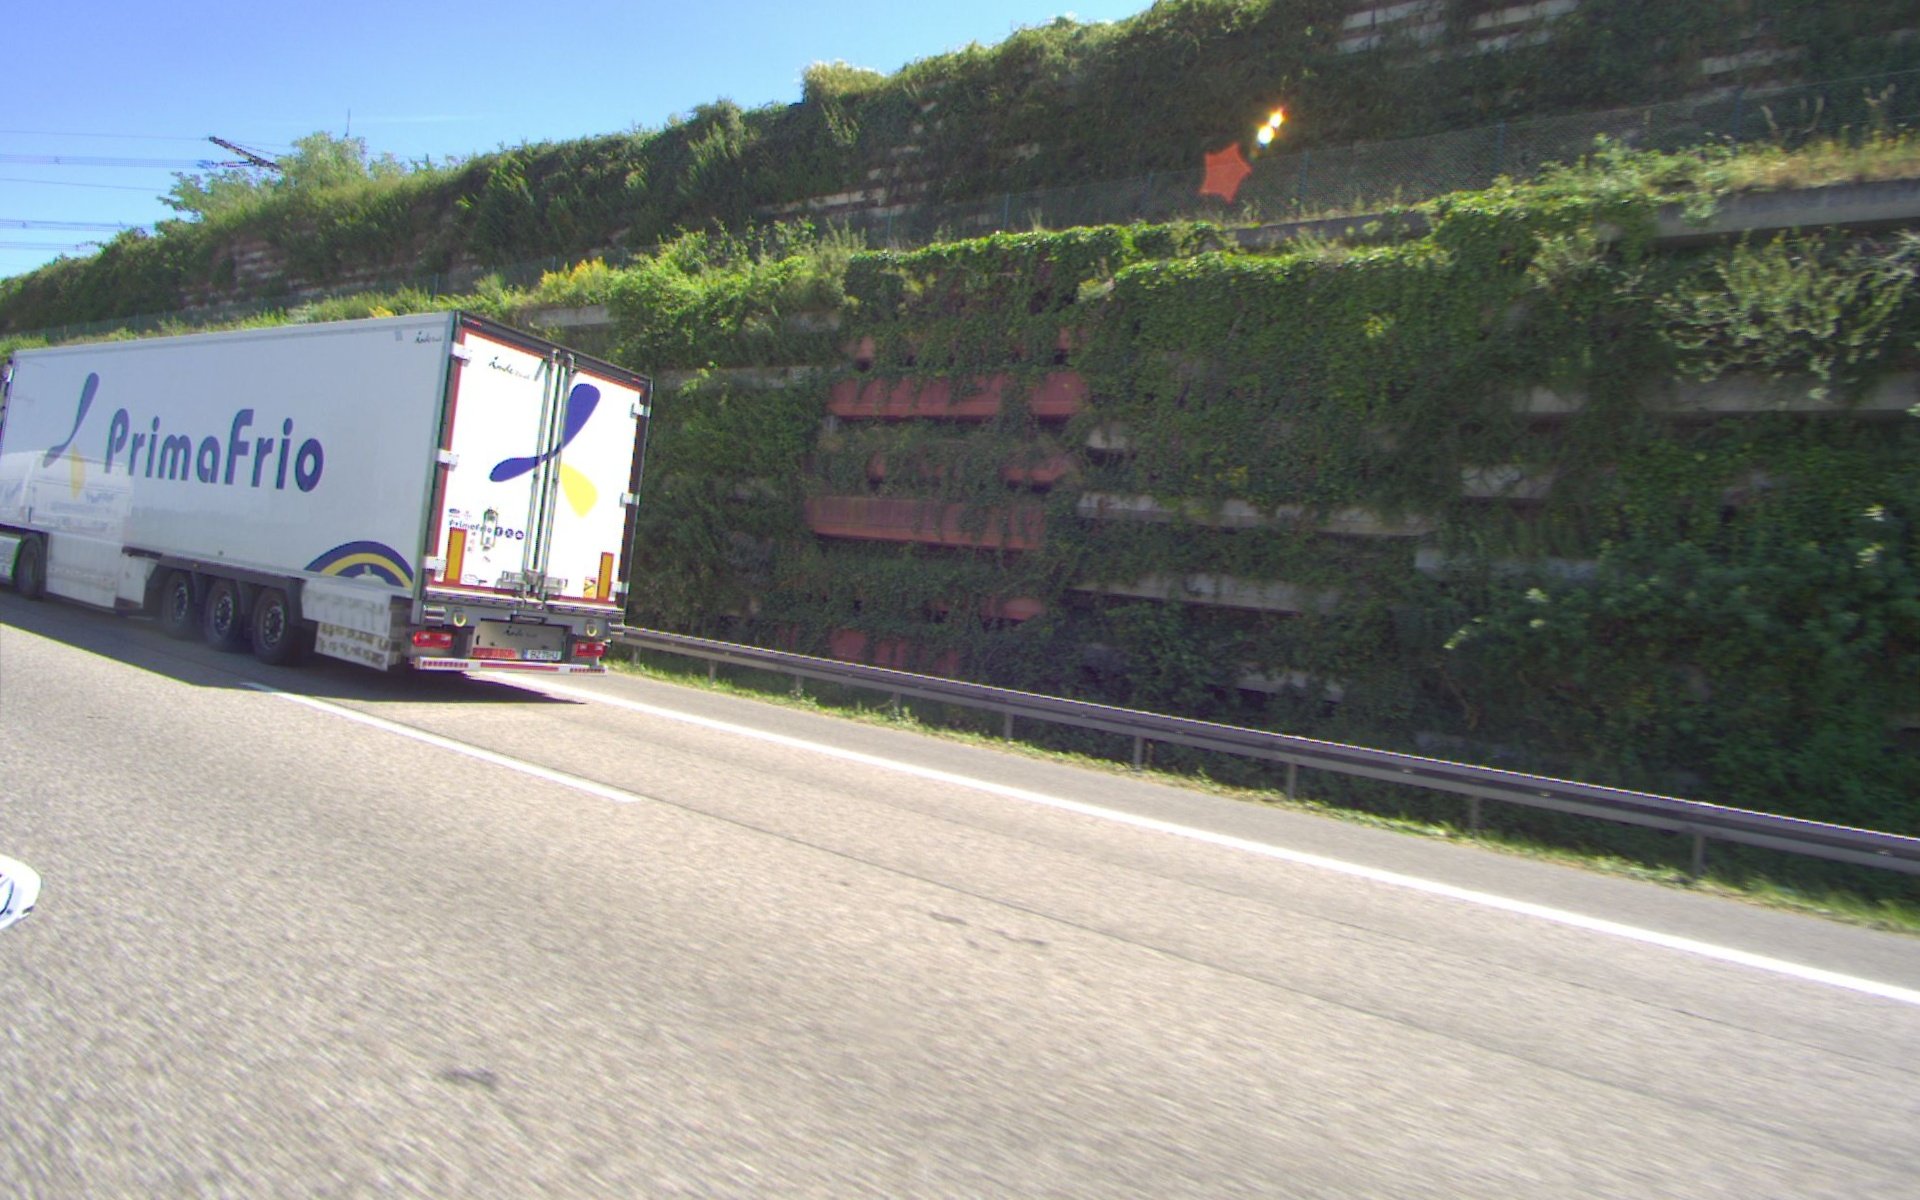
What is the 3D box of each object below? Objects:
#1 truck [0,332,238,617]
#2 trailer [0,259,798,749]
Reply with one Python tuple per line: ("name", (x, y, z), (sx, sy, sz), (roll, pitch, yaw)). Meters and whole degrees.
("truck", (-16.390, -2.232, 18.538), (6.154, 4.268, 2.512), (6, -2, 33))
("trailer", (-9.674, -1.507, 14.246), (16.747, 4.262, 2.518), (6, -1, 32))
